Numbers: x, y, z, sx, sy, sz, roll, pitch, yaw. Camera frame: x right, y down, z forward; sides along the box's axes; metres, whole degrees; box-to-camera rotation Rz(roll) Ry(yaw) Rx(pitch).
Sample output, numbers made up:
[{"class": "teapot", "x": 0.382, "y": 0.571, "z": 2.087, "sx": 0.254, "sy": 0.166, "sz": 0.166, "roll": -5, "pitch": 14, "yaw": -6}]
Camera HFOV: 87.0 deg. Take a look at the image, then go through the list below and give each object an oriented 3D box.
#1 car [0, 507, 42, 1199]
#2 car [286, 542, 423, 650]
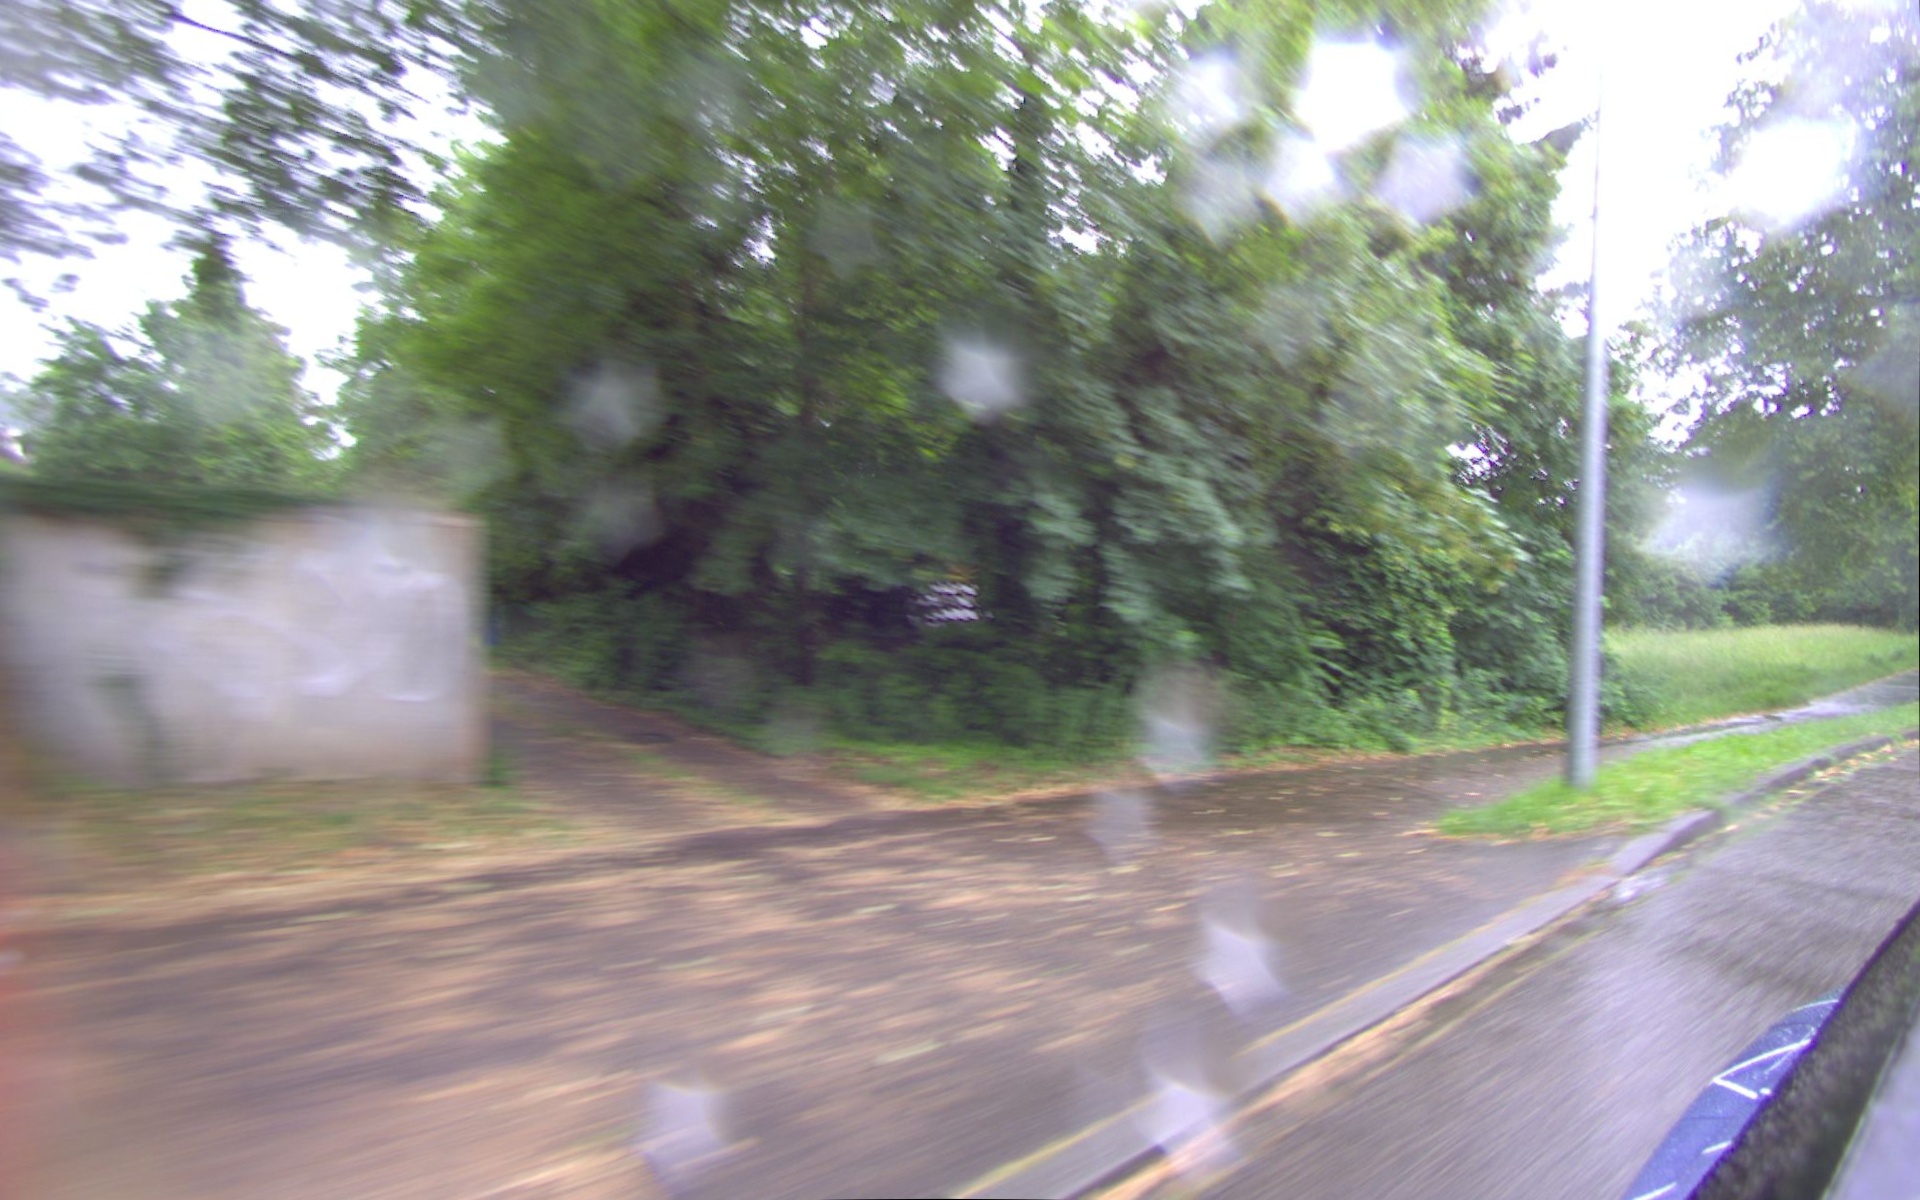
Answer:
[{"class": "car", "x": -3.311, "y": 0.651, "z": 0.869, "sx": 3.679, "sy": 1.538, "sz": 1.820, "roll": 2, "pitch": -6, "yaw": -43}, {"class": "car", "x": -13.133, "y": -0.170, "z": 21.822, "sx": 1.746, "sy": 2.065, "sz": 4.694, "roll": -1, "pitch": 3, "yaw": -41}]
